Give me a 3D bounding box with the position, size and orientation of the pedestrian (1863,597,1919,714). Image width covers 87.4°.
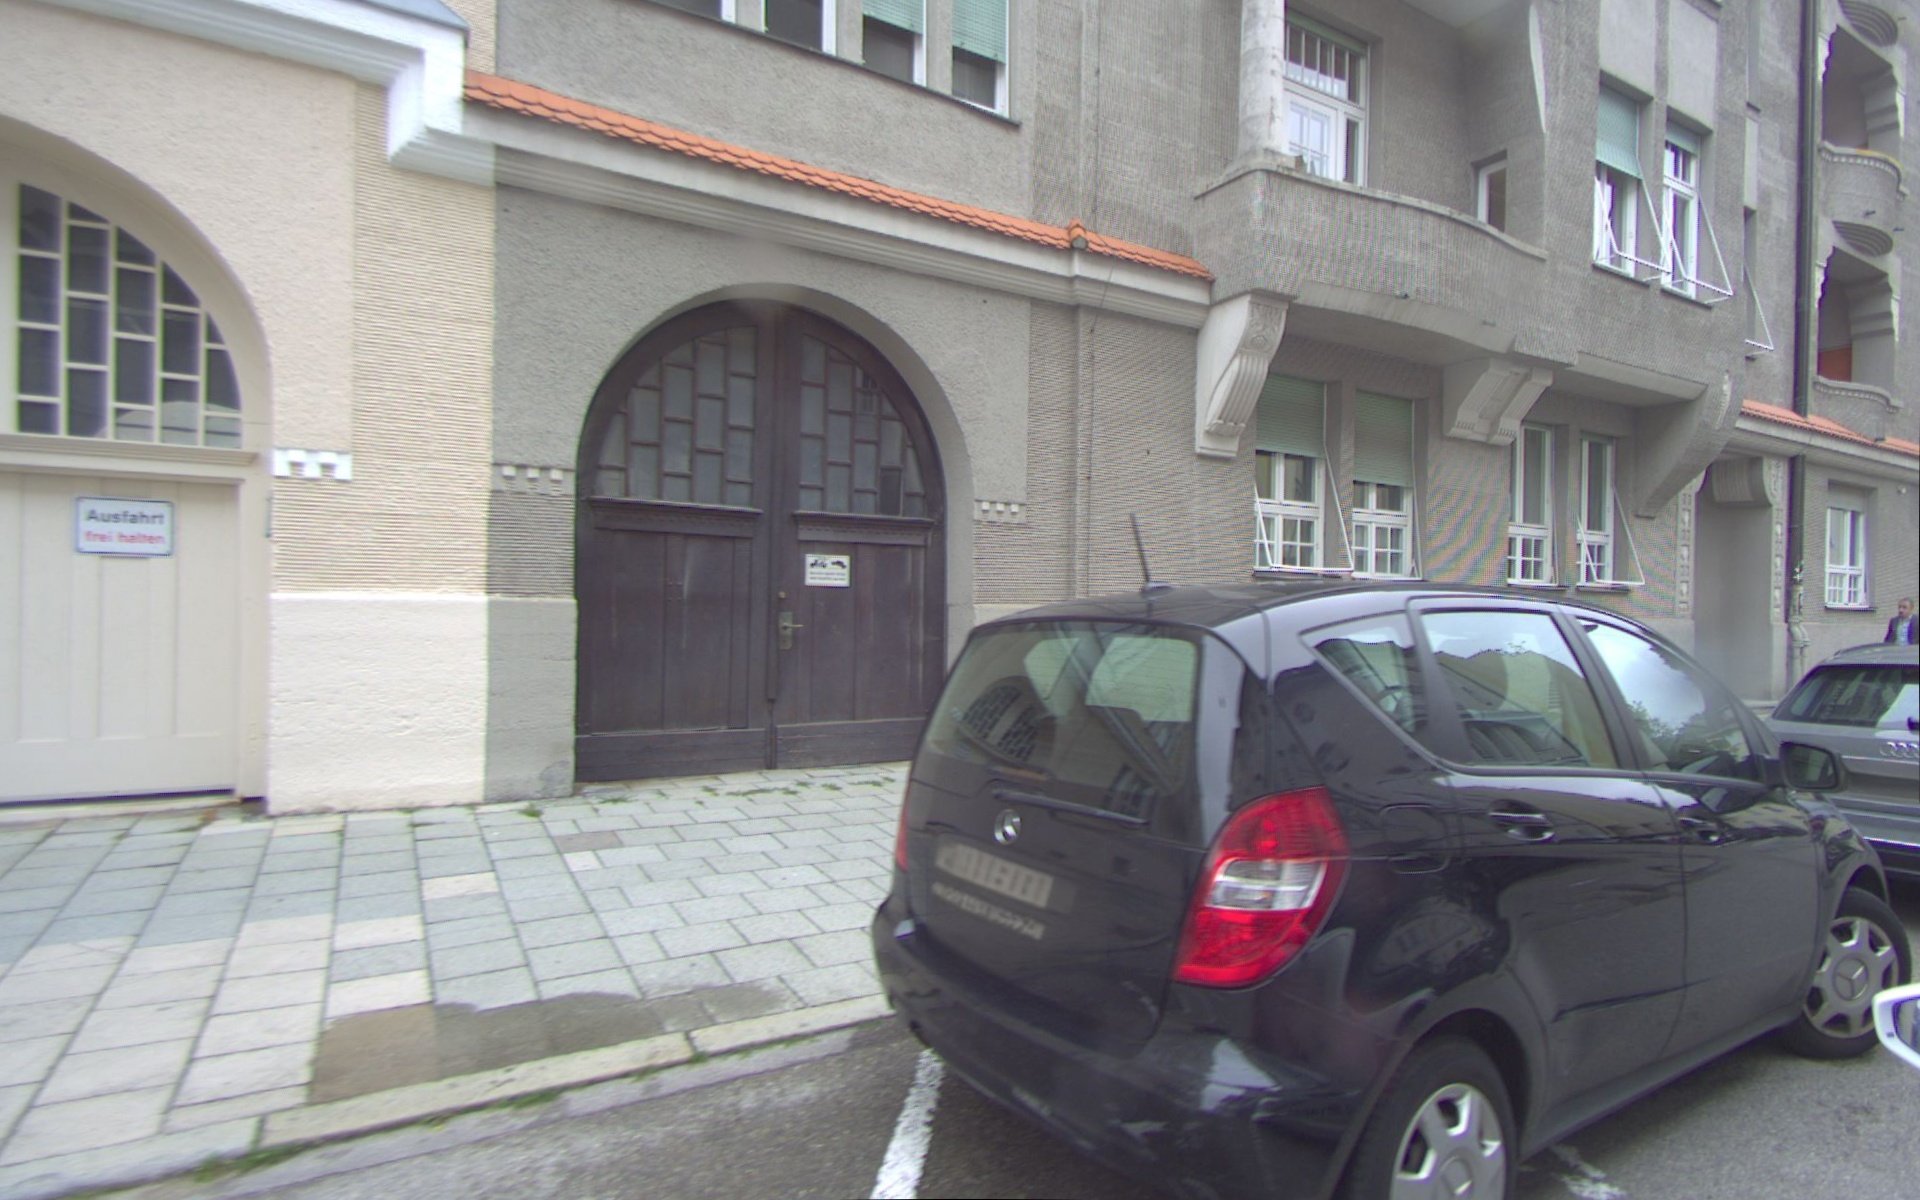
[{"bbox_3d":[15.330,0.881,16.354,0.722,1.841,0.713,1,0,-31],"label":"pedestrian"}]

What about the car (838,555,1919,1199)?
[{"bbox_3d":[1.690,0.757,3.418,3.774,1.593,1.791,2,0,-34],"label":"car"}]

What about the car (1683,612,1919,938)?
[{"bbox_3d":[6.432,0.883,6.080,4.558,1.533,1.826,1,-1,-33],"label":"car"}]
